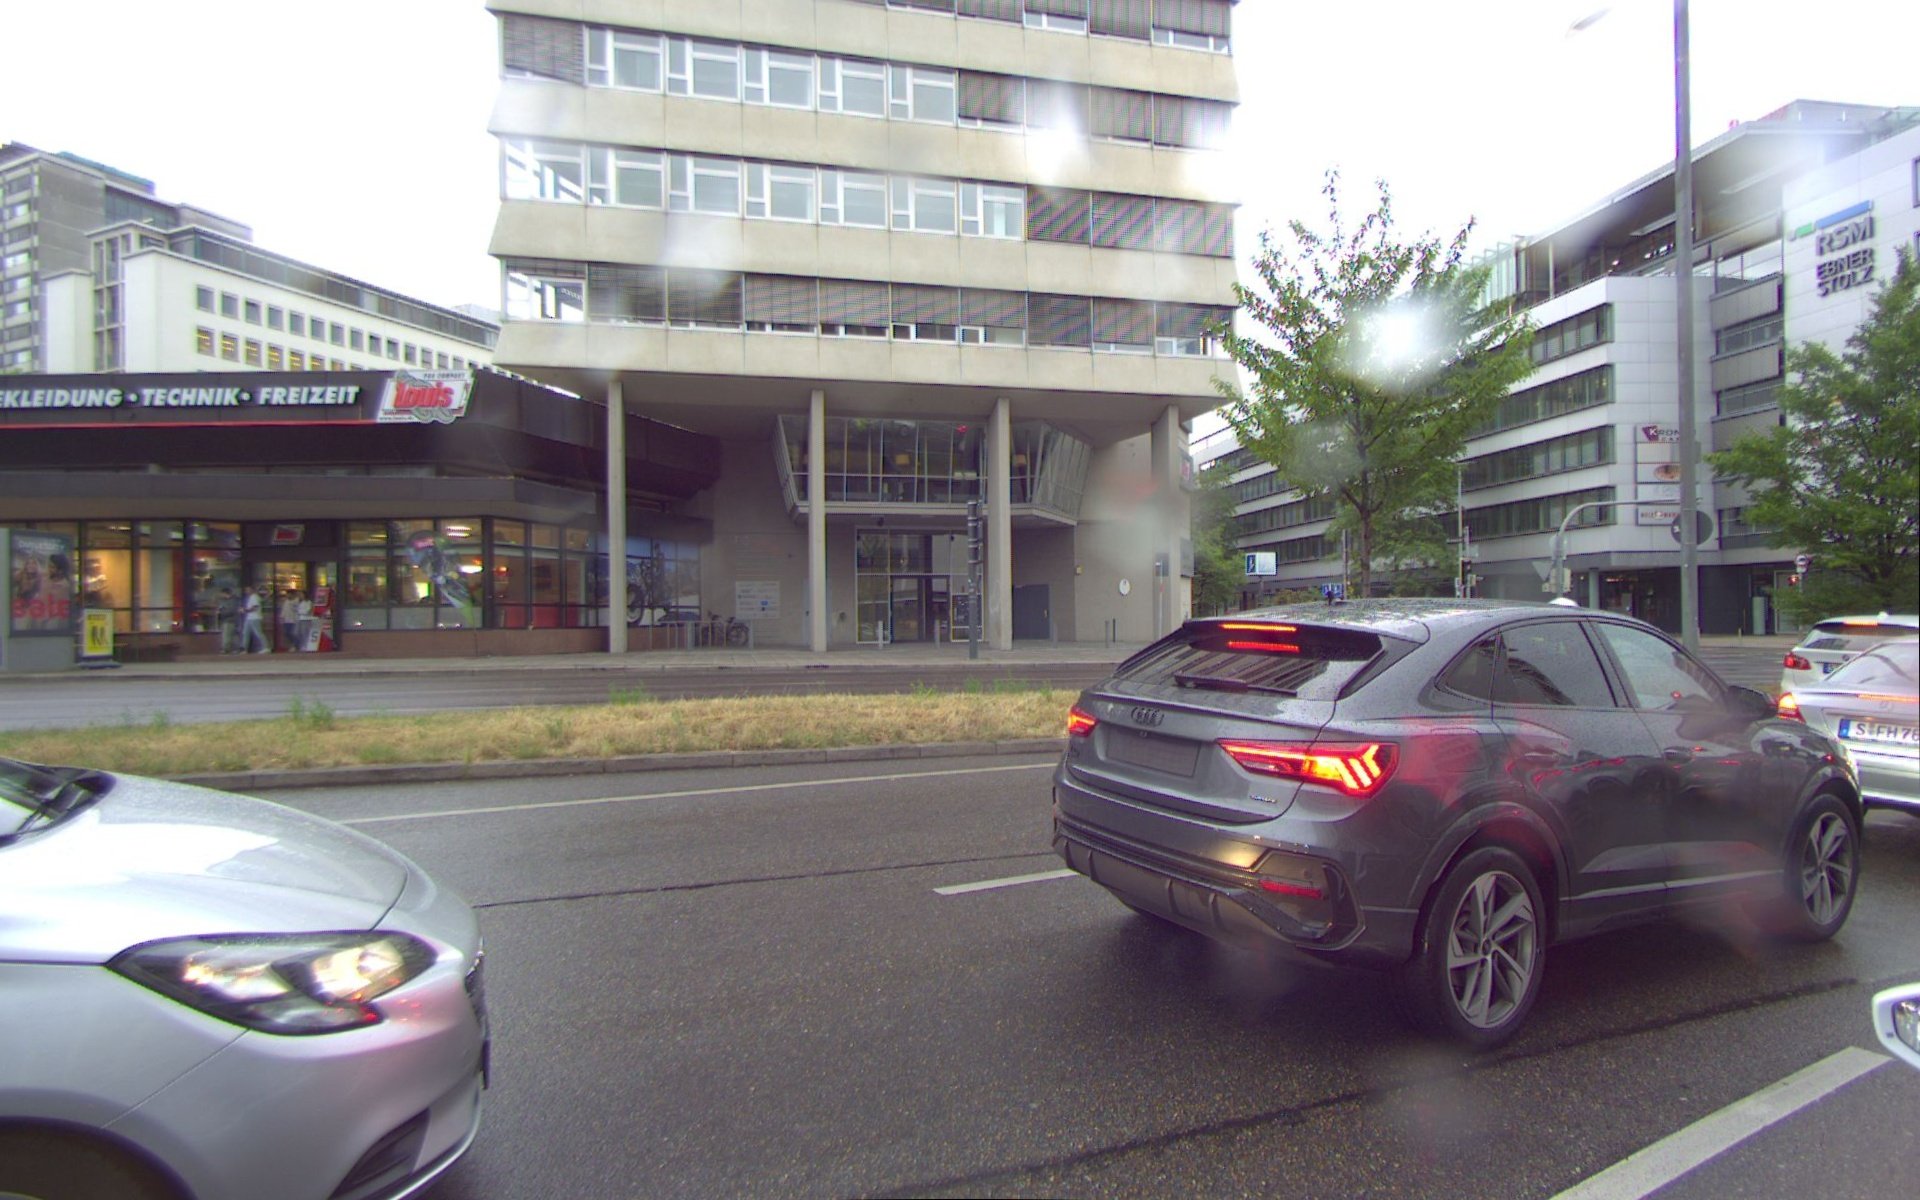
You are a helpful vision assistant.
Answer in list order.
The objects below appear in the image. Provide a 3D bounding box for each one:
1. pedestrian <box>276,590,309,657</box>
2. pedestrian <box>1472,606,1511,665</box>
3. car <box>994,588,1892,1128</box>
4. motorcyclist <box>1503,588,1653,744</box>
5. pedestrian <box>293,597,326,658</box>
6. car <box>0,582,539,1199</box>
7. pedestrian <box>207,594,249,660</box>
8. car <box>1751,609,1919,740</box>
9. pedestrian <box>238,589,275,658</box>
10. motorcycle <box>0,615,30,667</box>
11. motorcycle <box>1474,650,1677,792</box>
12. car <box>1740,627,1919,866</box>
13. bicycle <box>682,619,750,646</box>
[{"bbox_3d":[-17.828,0.622,26.828,0.548,1.767,0.541,1,0,-9],"label":"pedestrian"},{"bbox_3d":[15.530,1.029,29.359,0.751,1.706,0.677,1,0,-16],"label":"pedestrian"},{"bbox_3d":[2.378,0.761,4.637,4.220,1.542,1.640,1,0,-30],"label":"car"},{"bbox_3d":[5.893,0.599,9.589,1.105,1.398,0.766,2,0,-30],"label":"motorcyclist"},{"bbox_3d":[-17.159,0.728,26.496,0.548,1.591,0.541,1,0,-9],"label":"pedestrian"},{"bbox_3d":[-2.888,0.675,1.687,3.831,1.455,1.639,1,0,-32],"label":"car"},{"bbox_3d":[-18.202,0.668,24.991,0.601,1.633,0.614,1,0,-9],"label":"pedestrian"},{"bbox_3d":[12.633,0.932,13.210,3.940,1.506,1.704,2,0,-21],"label":"car"},{"bbox_3d":[-18.291,0.604,26.130,0.548,1.767,0.614,1,0,-9],"label":"pedestrian"},{"bbox_3d":[-23.529,0.986,24.191,0.353,1.249,1.669,1,0,20],"label":"motorcycle"},{"bbox_3d":[5.918,1.101,9.628,2.005,1.200,0.796,2,0,-30],"label":"motorcycle"},{"bbox_3d":[7.643,0.965,7.087,4.050,1.426,1.567,2,0,-22],"label":"car"},{"bbox_3d":[-8.268,1.106,34.094,2.165,0.871,0.456,2,0,-31],"label":"bicycle"}]
